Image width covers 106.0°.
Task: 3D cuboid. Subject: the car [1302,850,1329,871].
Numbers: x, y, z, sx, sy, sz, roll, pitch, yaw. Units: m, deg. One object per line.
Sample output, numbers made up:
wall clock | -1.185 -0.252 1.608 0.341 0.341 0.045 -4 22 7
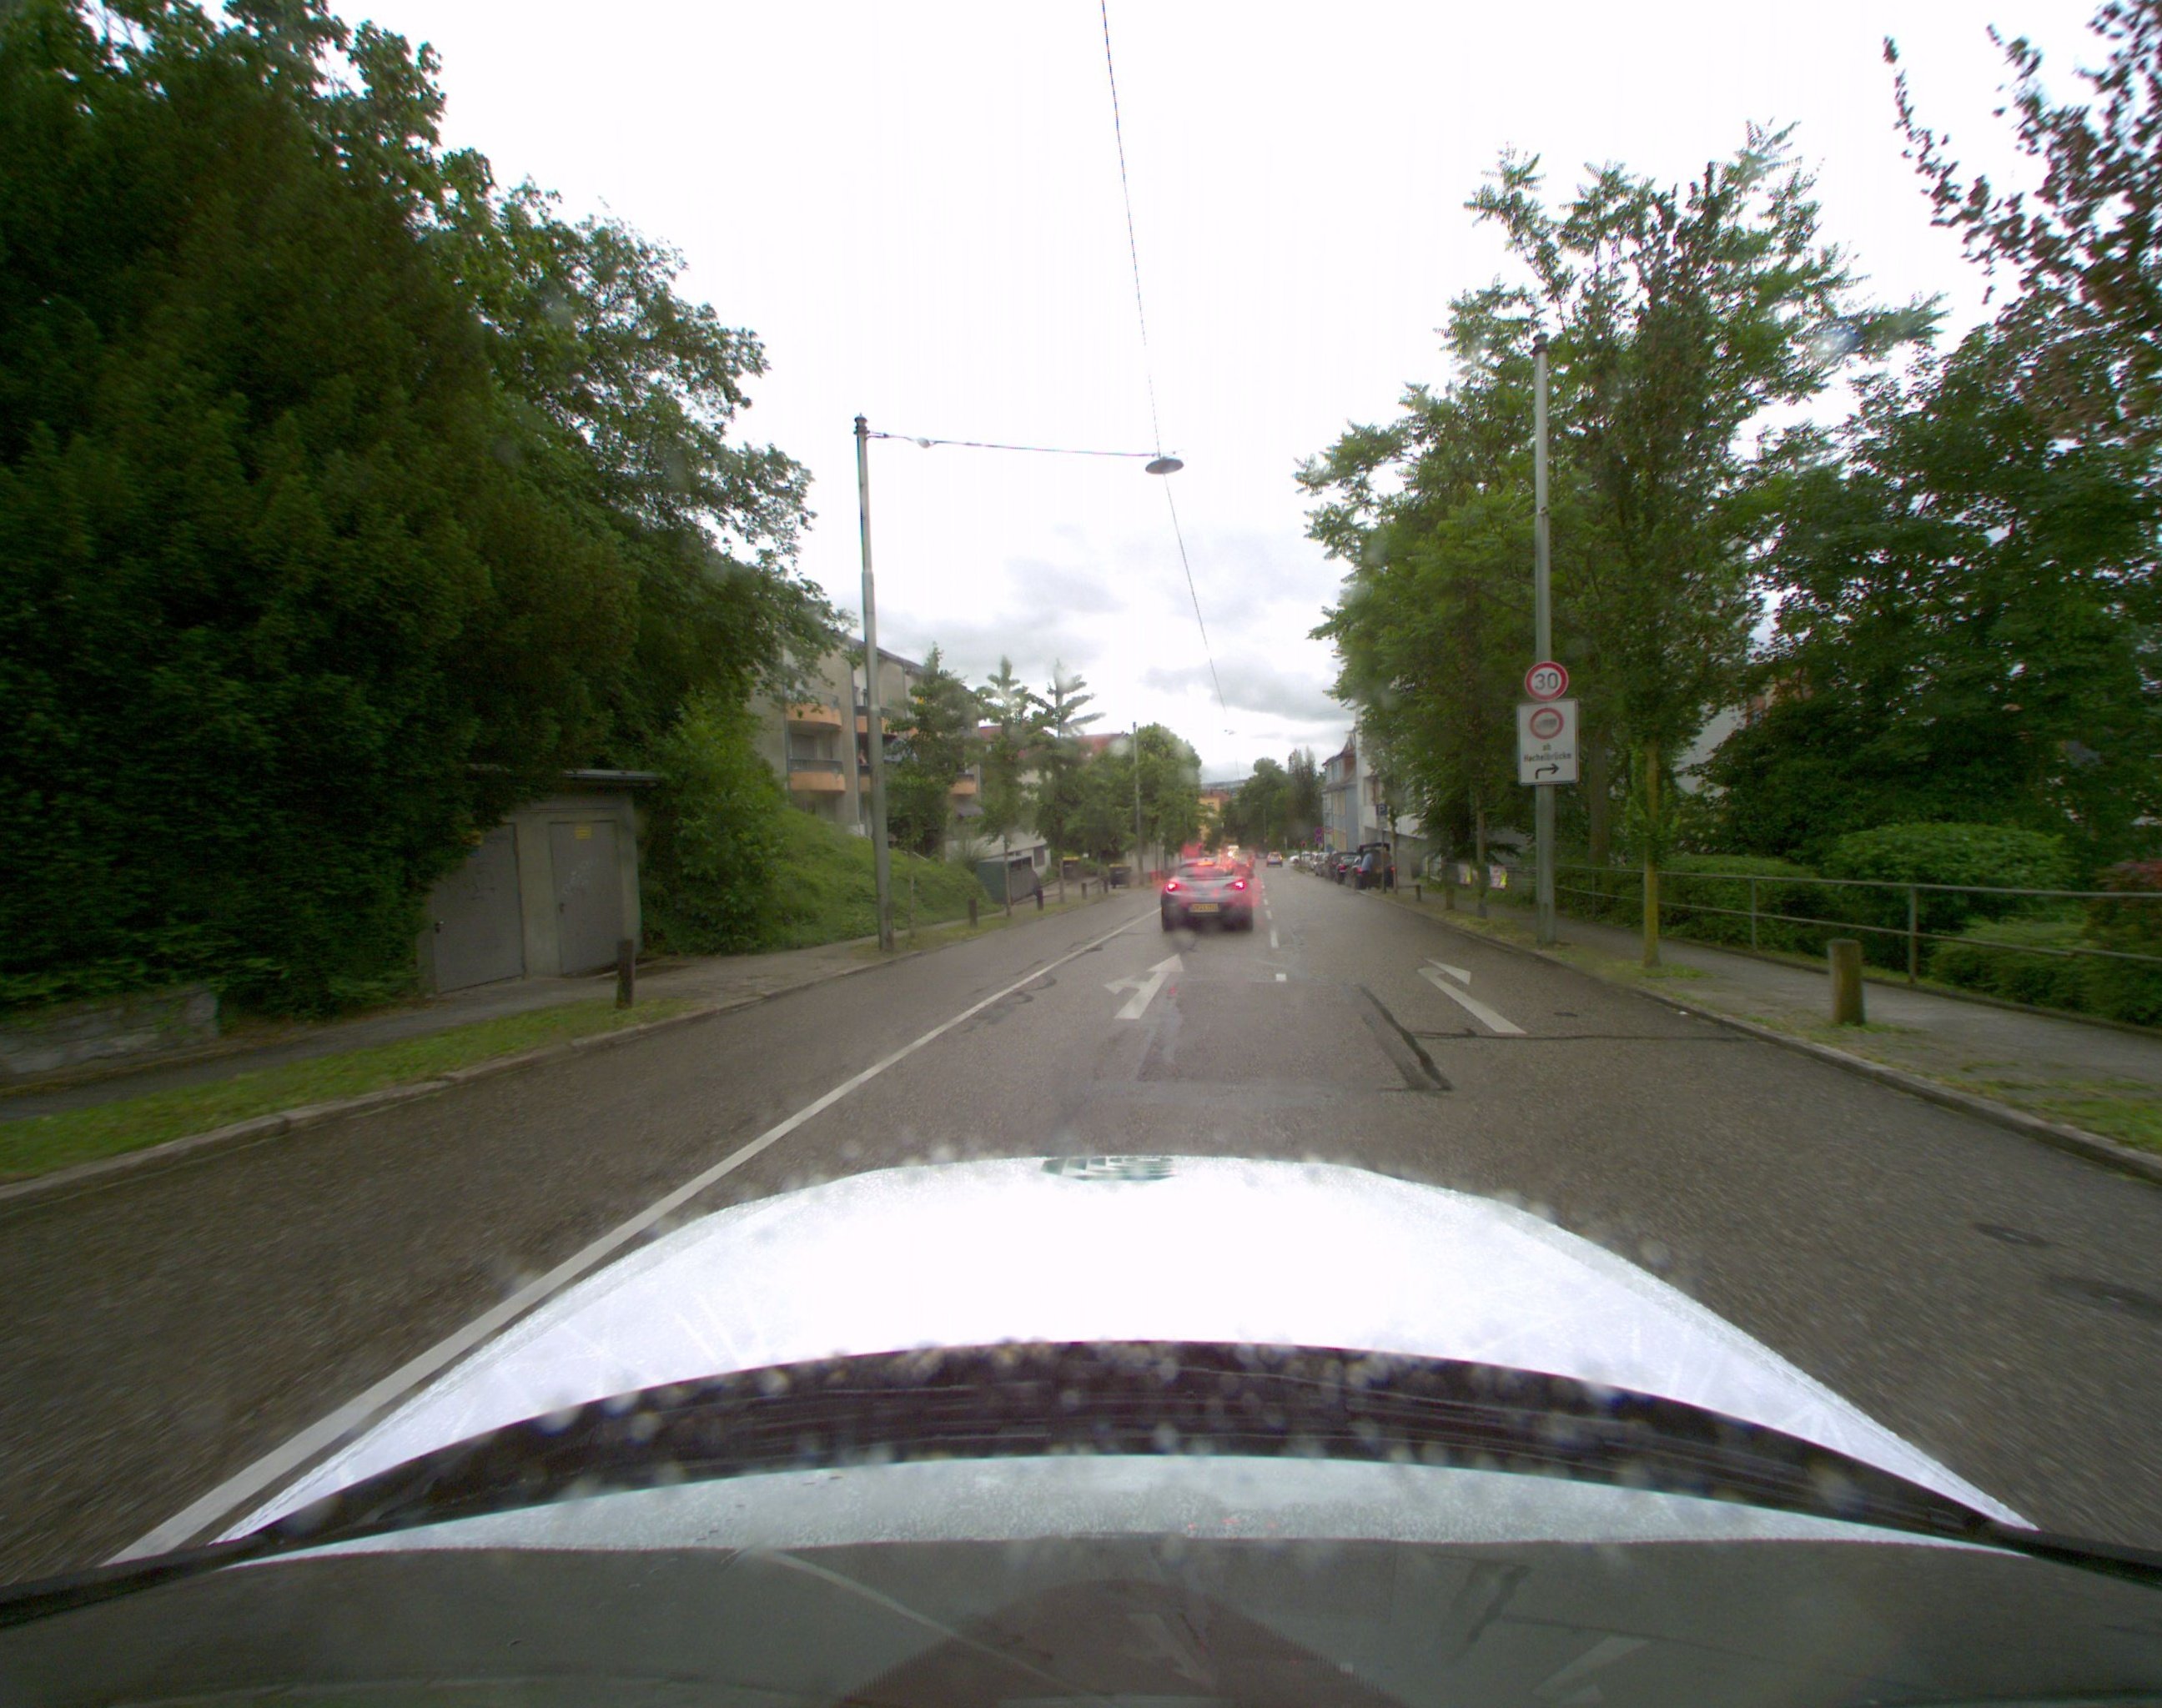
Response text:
car | 19.696 0.529 68.573 1.893 1.570 4.015 -3 0 13

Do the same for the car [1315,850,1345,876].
car | 16.361 0.555 53.636 1.573 1.493 4.305 -3 0 13

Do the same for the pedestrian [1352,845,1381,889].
pedestrian | 11.913 0.542 34.011 0.735 1.723 0.762 -4 0 -13

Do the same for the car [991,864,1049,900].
car | -2.855 1.300 38.768 1.731 1.456 3.895 -6 -1 10

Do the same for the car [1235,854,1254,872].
car | 15.916 0.826 79.280 1.743 1.651 4.011 1 0 10

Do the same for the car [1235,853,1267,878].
car | 11.055 0.703 53.102 1.948 1.472 3.962 1 1 10

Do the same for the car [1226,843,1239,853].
car | 26.256 -1.050 140.784 1.980 1.784 4.014 1 1 13

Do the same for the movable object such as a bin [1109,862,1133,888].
movable object such as a bin | 2.205 1.146 45.163 1.264 1.387 0.490 -1 1 9

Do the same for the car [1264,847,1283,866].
car | 22.495 0.290 95.275 1.980 2.036 4.751 1 1 12

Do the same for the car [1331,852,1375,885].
car | 13.885 0.693 41.734 1.669 1.464 4.015 -3 0 13

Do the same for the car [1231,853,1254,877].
car | 12.919 0.816 65.407 1.757 1.781 3.988 1 1 10

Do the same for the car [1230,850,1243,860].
car | 25.528 0.089 133.424 1.980 1.536 4.324 1 1 12

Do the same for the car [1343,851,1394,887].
car | 12.685 0.658 36.106 1.494 1.435 4.012 -3 -1 11

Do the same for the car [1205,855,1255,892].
car | 6.123 0.777 33.879 1.788 1.323 4.008 -1 1 7

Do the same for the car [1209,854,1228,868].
car | 16.587 0.820 97.959 1.837 1.469 4.102 -6 -1 13

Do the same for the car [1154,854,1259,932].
car | 2.672 0.756 17.573 1.934 1.432 3.893 -2 0 8

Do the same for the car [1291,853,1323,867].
car | 30.011 0.767 108.338 3.830 1.479 1.832 -6 0 7

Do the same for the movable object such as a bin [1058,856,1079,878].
movable object such as a bin | -0.806 0.812 51.580 1.264 1.387 0.490 -1 1 9

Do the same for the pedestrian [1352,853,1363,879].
pedestrian | 19.469 0.829 57.392 0.641 1.784 0.544 -2 0 12

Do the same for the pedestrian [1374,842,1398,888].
pedestrian | 12.669 0.437 33.802 0.682 1.836 0.667 -5 0 9

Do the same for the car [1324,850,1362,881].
car | 14.852 0.608 46.362 1.674 1.570 4.015 -3 0 13

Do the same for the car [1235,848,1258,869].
car | 17.867 0.464 87.579 2.318 2.036 4.751 1 1 12
